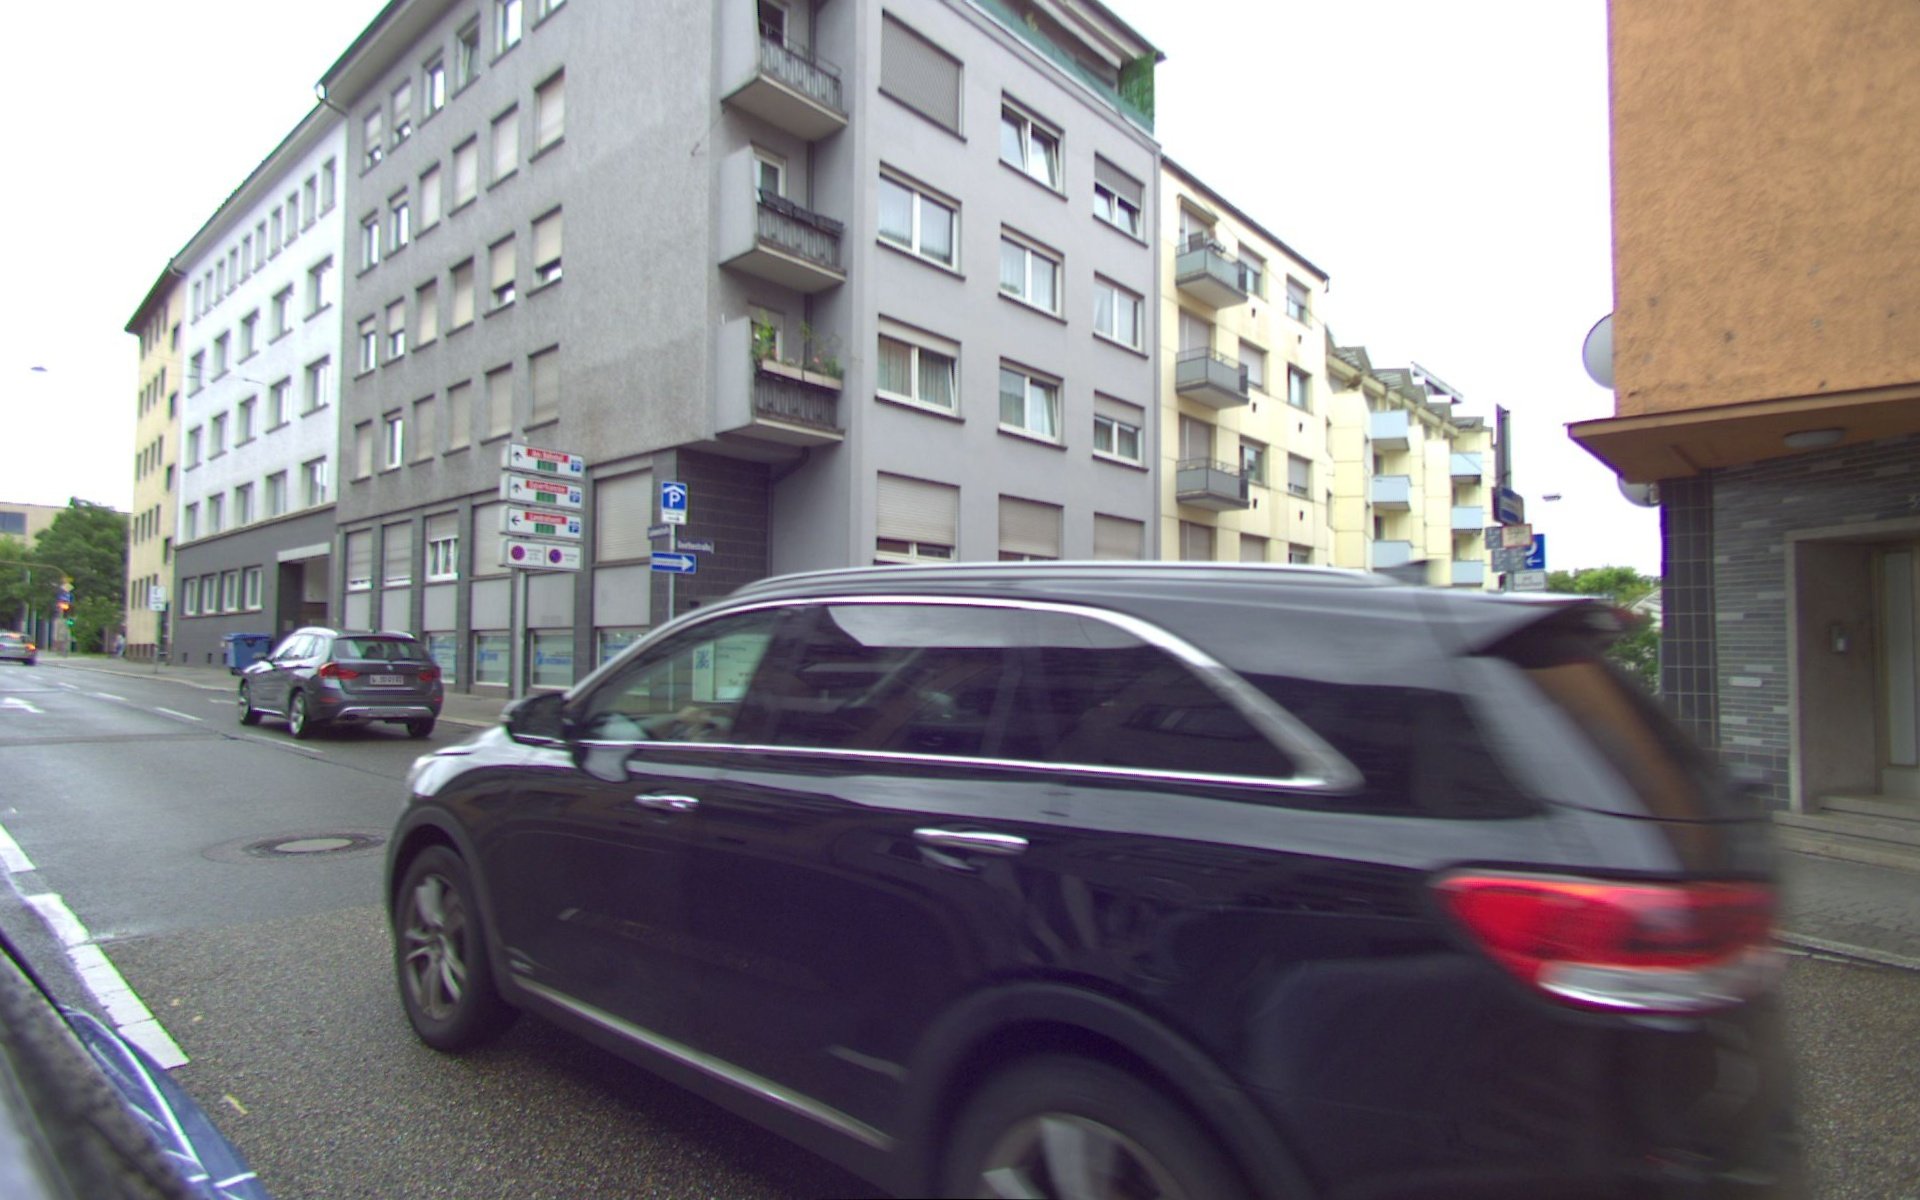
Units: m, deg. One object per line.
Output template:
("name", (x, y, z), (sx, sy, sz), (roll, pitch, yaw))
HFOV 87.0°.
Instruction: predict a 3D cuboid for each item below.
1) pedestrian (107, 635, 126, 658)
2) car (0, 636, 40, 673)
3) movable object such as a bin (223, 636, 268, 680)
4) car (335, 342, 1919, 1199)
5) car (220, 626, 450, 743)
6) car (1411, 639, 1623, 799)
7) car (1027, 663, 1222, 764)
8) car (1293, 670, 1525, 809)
("pedestrian", (-44.037, 2.412, 52.849), (0.573, 1.158, 0.408), (4, -5, -24))
("car", (-43.995, 2.459, 46.626), (4.371, 1.602, 1.858), (-1, -3, 41))
("movable object such as a bin", (-22.886, 1.847, 32.417), (1.096, 1.343, 0.933), (-1, 0, 41))
("car", (-0.062, 0.698, 3.121), (4.471, 1.740, 1.817), (-1, -5, 41))
("car", (-9.483, 1.202, 15.228), (4.157, 1.519, 1.685), (-1, -5, 41))
("car", (10.561, 2.226, 18.903), (2.249, 2.481, 5.975), (-1, -7, 41))
("car", (3.337, 2.276, 19.921), (1.794, 1.700, 4.186), (-1, -8, 41))
("car", (6.405, 1.950, 14.171), (1.842, 1.589, 4.098), (-1, -8, 41))
